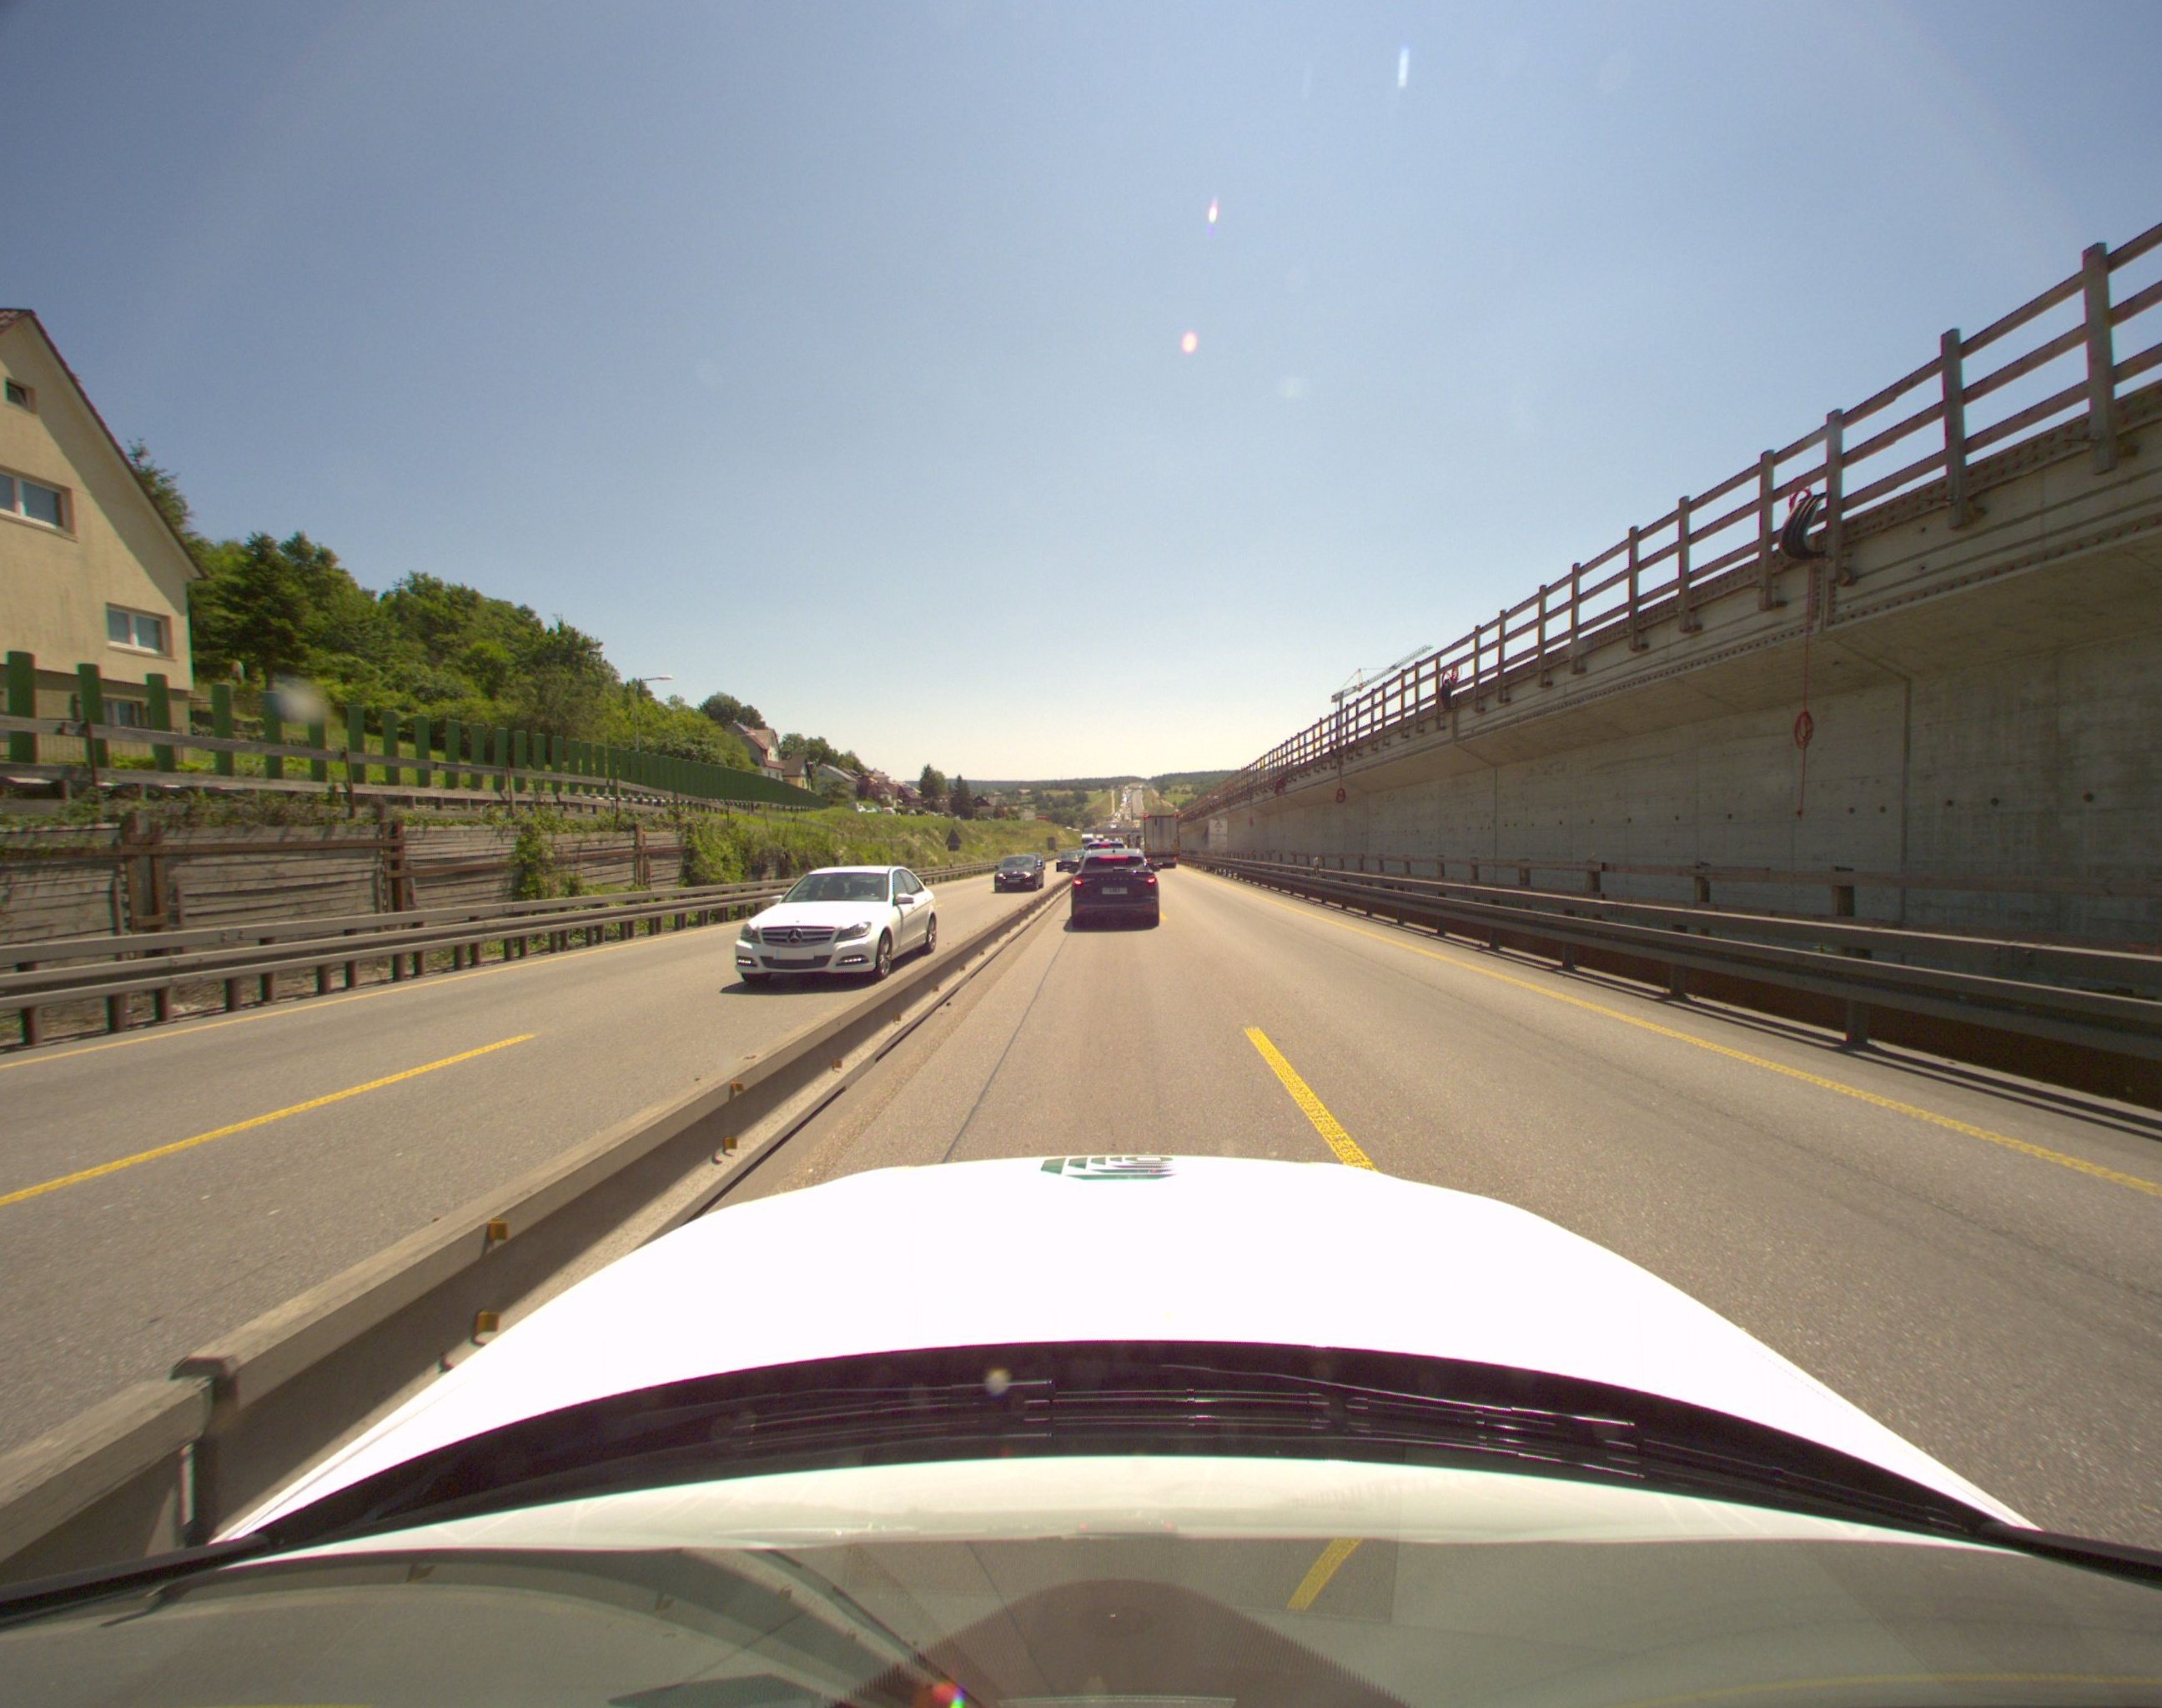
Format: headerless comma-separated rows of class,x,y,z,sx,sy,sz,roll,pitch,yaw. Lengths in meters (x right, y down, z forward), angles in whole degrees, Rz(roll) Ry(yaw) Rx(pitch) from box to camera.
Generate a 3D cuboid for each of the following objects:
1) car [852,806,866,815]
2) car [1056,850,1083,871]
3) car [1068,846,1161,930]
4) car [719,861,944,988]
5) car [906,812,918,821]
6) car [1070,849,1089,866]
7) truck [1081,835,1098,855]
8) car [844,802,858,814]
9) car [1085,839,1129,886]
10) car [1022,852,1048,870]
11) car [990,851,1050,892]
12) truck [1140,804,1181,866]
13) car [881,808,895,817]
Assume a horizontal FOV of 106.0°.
car,-32.061,-6.295,117.535,1.277,1.038,3.271,-2,0,-3
car,-0.828,0.503,63.231,1.835,1.530,4.296,-1,-1,2
car,0.709,0.663,17.825,1.776,1.597,3.756,-2,0,2
car,-3.208,0.822,11.433,1.726,1.437,4.260,0,0,1
car,-34.099,-7.562,164.198,1.924,1.728,3.990,-2,0,-8
car,-0.125,0.299,80.874,1.757,1.610,3.894,-2,0,2
truck,1.776,-1.905,179.463,3.174,4.238,6.476,-1,-1,-4
car,-31.856,-6.337,112.768,1.732,1.398,3.777,0,0,-19
car,1.063,0.343,34.874,1.743,1.895,3.755,1,0,0
car,-3.885,0.583,69.182,1.807,1.448,5.008,0,0,1
car,-2.424,0.687,33.397,1.598,1.446,4.676,-4,-1,5
truck,6.317,-1.354,66.216,2.834,4.615,11.821,-1,-1,3
car,-34.291,-7.299,144.484,1.992,1.319,3.989,2,0,-8
